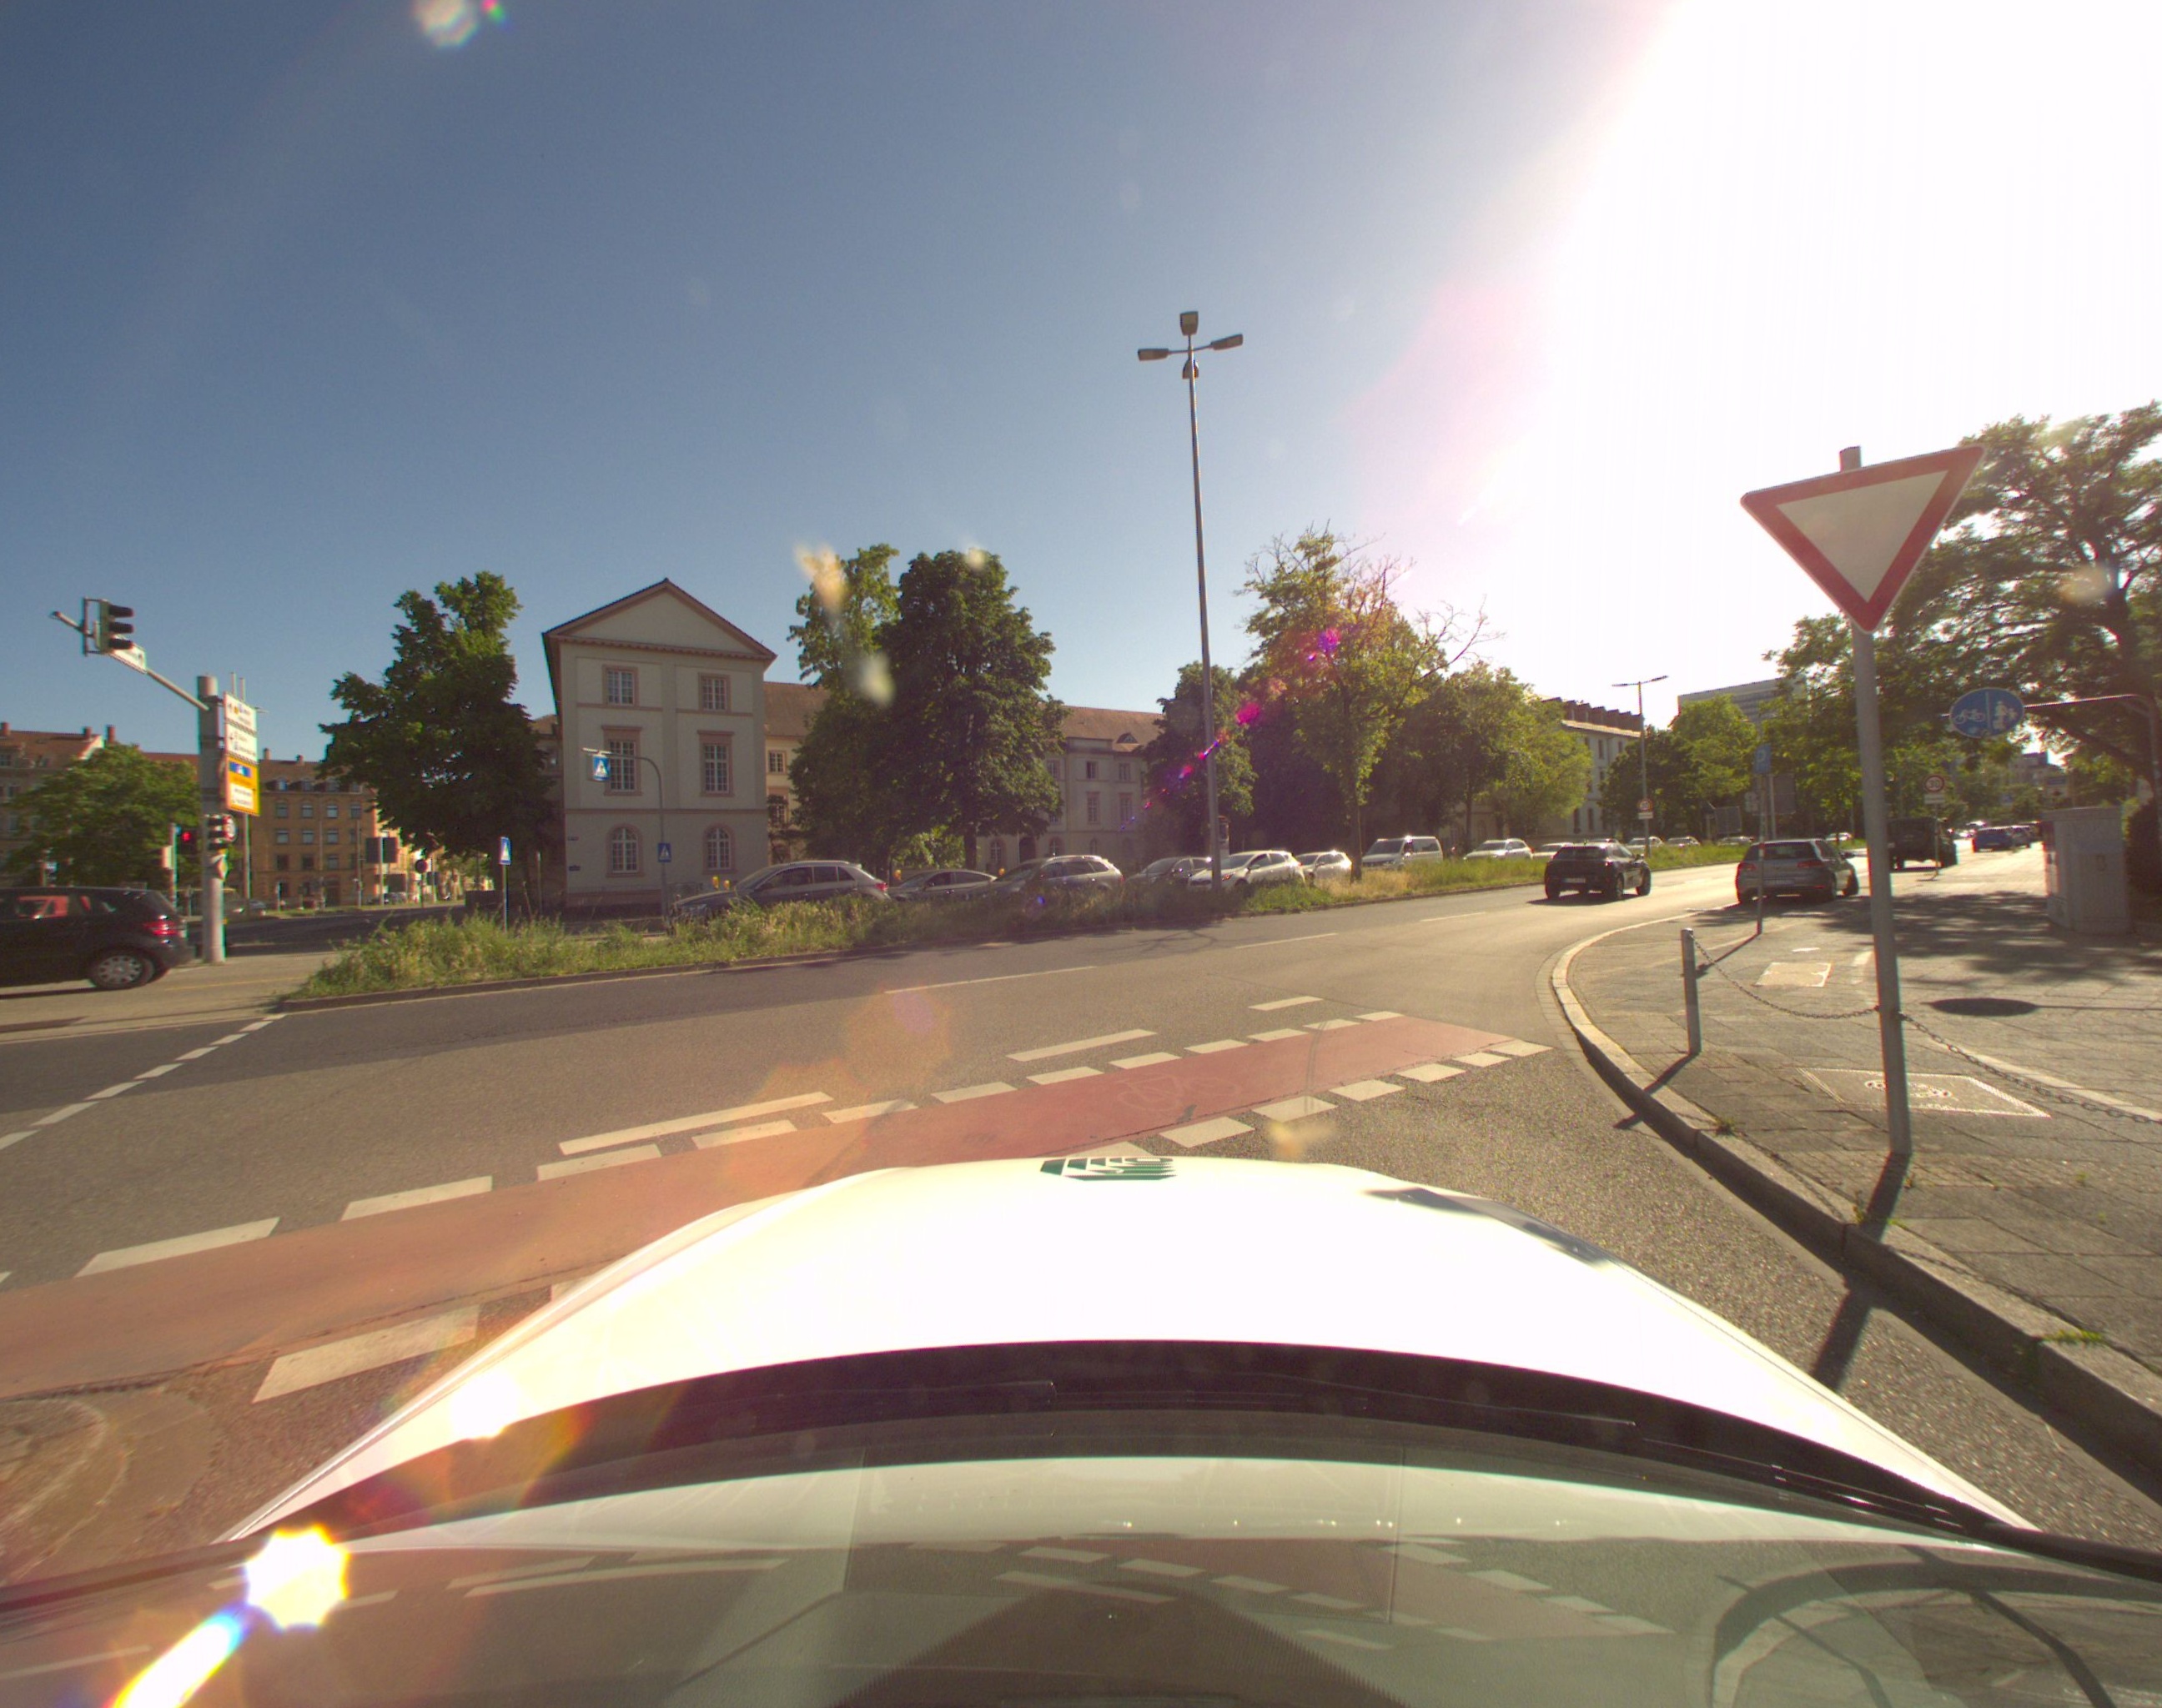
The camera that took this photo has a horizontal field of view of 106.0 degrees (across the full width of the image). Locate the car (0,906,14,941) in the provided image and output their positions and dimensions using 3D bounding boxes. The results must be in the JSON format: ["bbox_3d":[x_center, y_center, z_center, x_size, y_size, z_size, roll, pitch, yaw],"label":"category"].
[{"bbox_3d":[-50.957,3.261,36.838,1.927,1.618,4.659,2,-2,-36],"label":"car"}]

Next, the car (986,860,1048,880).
[{"bbox_3d":[-4.953,1.272,63.600,4.707,1.492,1.629,2,-2,-38],"label":"car"}]

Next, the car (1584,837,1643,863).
[{"bbox_3d":[33.647,-0.290,51.379,4.466,1.519,1.780,-1,-1,-39],"label":"car"}]

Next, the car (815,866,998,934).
[{"bbox_3d":[-4.527,1.132,21.485,4.368,1.519,1.781,-1,0,-39],"label":"car"}]

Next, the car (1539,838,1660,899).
[{"bbox_3d":[14.519,0.352,22.742,4.022,1.519,1.878,-2,1,-43],"label":"car"}]

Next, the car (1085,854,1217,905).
[{"bbox_3d":[2.390,0.810,27.199,4.368,1.519,1.781,-1,0,-39],"label":"car"}]

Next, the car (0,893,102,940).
[{"bbox_3d":[-55.596,3.283,43.630,1.924,2.231,5.845,2,-2,-29],"label":"car"}]

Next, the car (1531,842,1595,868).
[{"bbox_3d":[28.036,0.042,47.318,4.279,1.352,1.780,-2,-1,-39],"label":"car"}]

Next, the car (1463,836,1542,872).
[{"bbox_3d":[22.368,-0.002,43.103,5.057,1.743,1.780,-1,-1,-39],"label":"car"}]

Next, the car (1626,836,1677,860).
[{"bbox_3d":[39.957,-0.410,57.004,4.279,1.519,1.780,-2,-1,-39],"label":"car"}]

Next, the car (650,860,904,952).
[{"bbox_3d":[-5.902,0.912,16.099,4.368,1.519,1.781,-1,0,-39],"label":"car"}]

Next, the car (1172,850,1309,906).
[{"bbox_3d":[4.931,0.698,24.937,4.226,1.519,1.780,-2,-1,-39],"label":"car"}]

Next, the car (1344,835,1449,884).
[{"bbox_3d":[14.426,0.232,37.109,5.042,2.028,2.214,-1,-1,-39],"label":"car"}]

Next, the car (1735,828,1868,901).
[{"bbox_3d":[17.502,0.222,19.715,4.176,1.448,1.624,-4,0,-38],"label":"car"}]

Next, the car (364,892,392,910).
[{"bbox_3d":[-77.772,5.178,90.101,1.861,1.706,3.958,-1,-1,-34],"label":"car"}]

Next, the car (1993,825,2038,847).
[{"bbox_3d":[58.745,-1.142,51.155,3.921,1.183,1.653,-2,-4,-40],"label":"car"}]

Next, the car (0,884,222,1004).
[{"bbox_3d":[-15.806,1.321,11.856,4.299,1.585,1.841,-2,-1,-39],"label":"car"}]

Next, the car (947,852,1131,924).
[{"bbox_3d":[-0.978,0.772,20.394,4.385,1.519,1.781,-2,0,-39],"label":"car"}]

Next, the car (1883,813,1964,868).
[{"bbox_3d":[33.745,-0.529,32.587,4.799,2.014,1.646,-1,-3,-38],"label":"car"}]

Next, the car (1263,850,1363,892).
[{"bbox_3d":[9.359,0.642,32.673,4.100,1.519,1.781,-1,-1,-39],"label":"car"}]
